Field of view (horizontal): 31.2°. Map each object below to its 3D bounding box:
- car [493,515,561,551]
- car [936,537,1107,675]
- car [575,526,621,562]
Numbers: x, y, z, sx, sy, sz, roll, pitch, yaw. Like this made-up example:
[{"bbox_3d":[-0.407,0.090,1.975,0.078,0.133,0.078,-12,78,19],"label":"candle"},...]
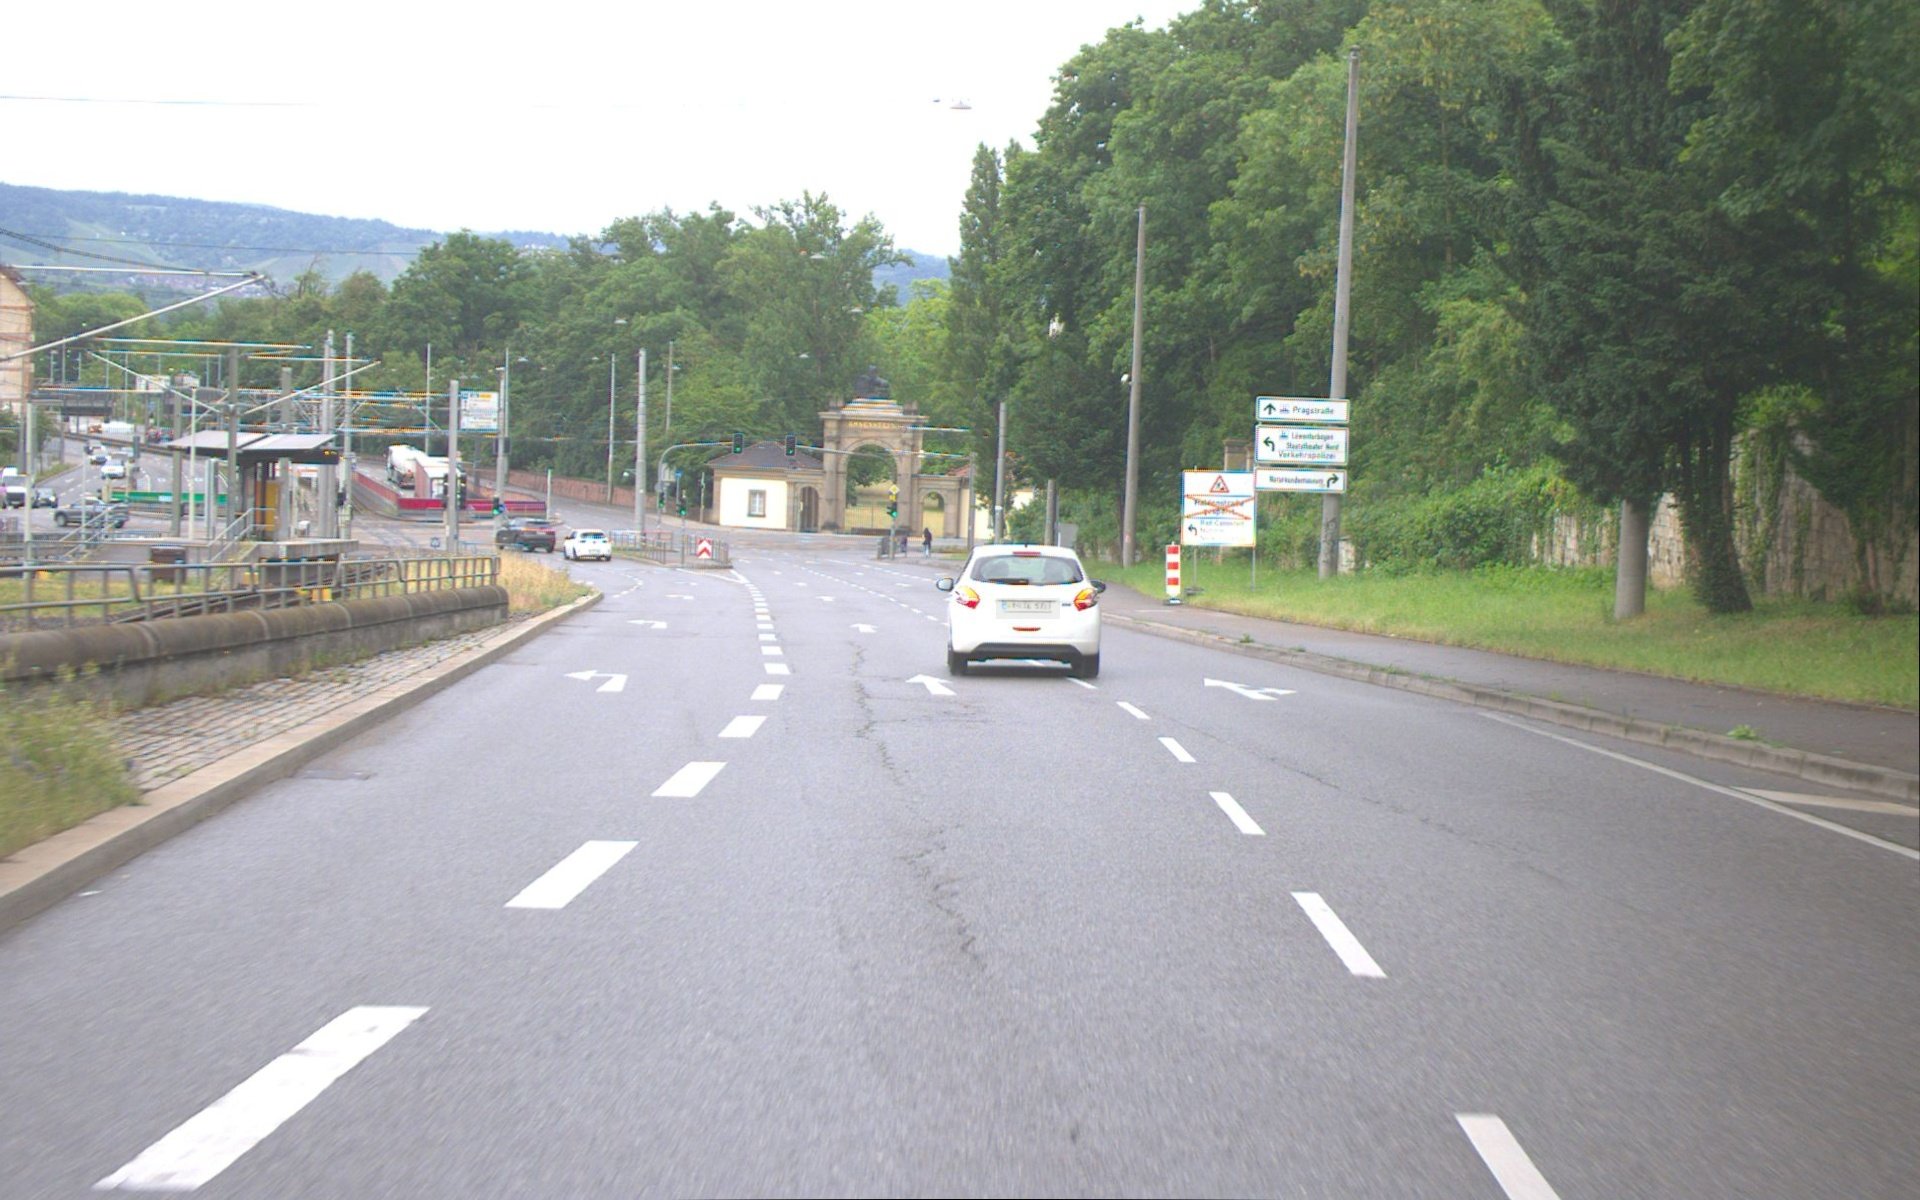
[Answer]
[{"bbox_3d":[-21.471,-3.340,170.344,1.993,1.700,4.001,0,2,-28],"label":"car"},{"bbox_3d":[0.709,0.036,39.505,1.868,1.505,3.900,0,1,1],"label":"car"},{"bbox_3d":[-16.788,-2.617,159.501,1.822,1.600,4.001,-1,2,-2],"label":"car"}]
